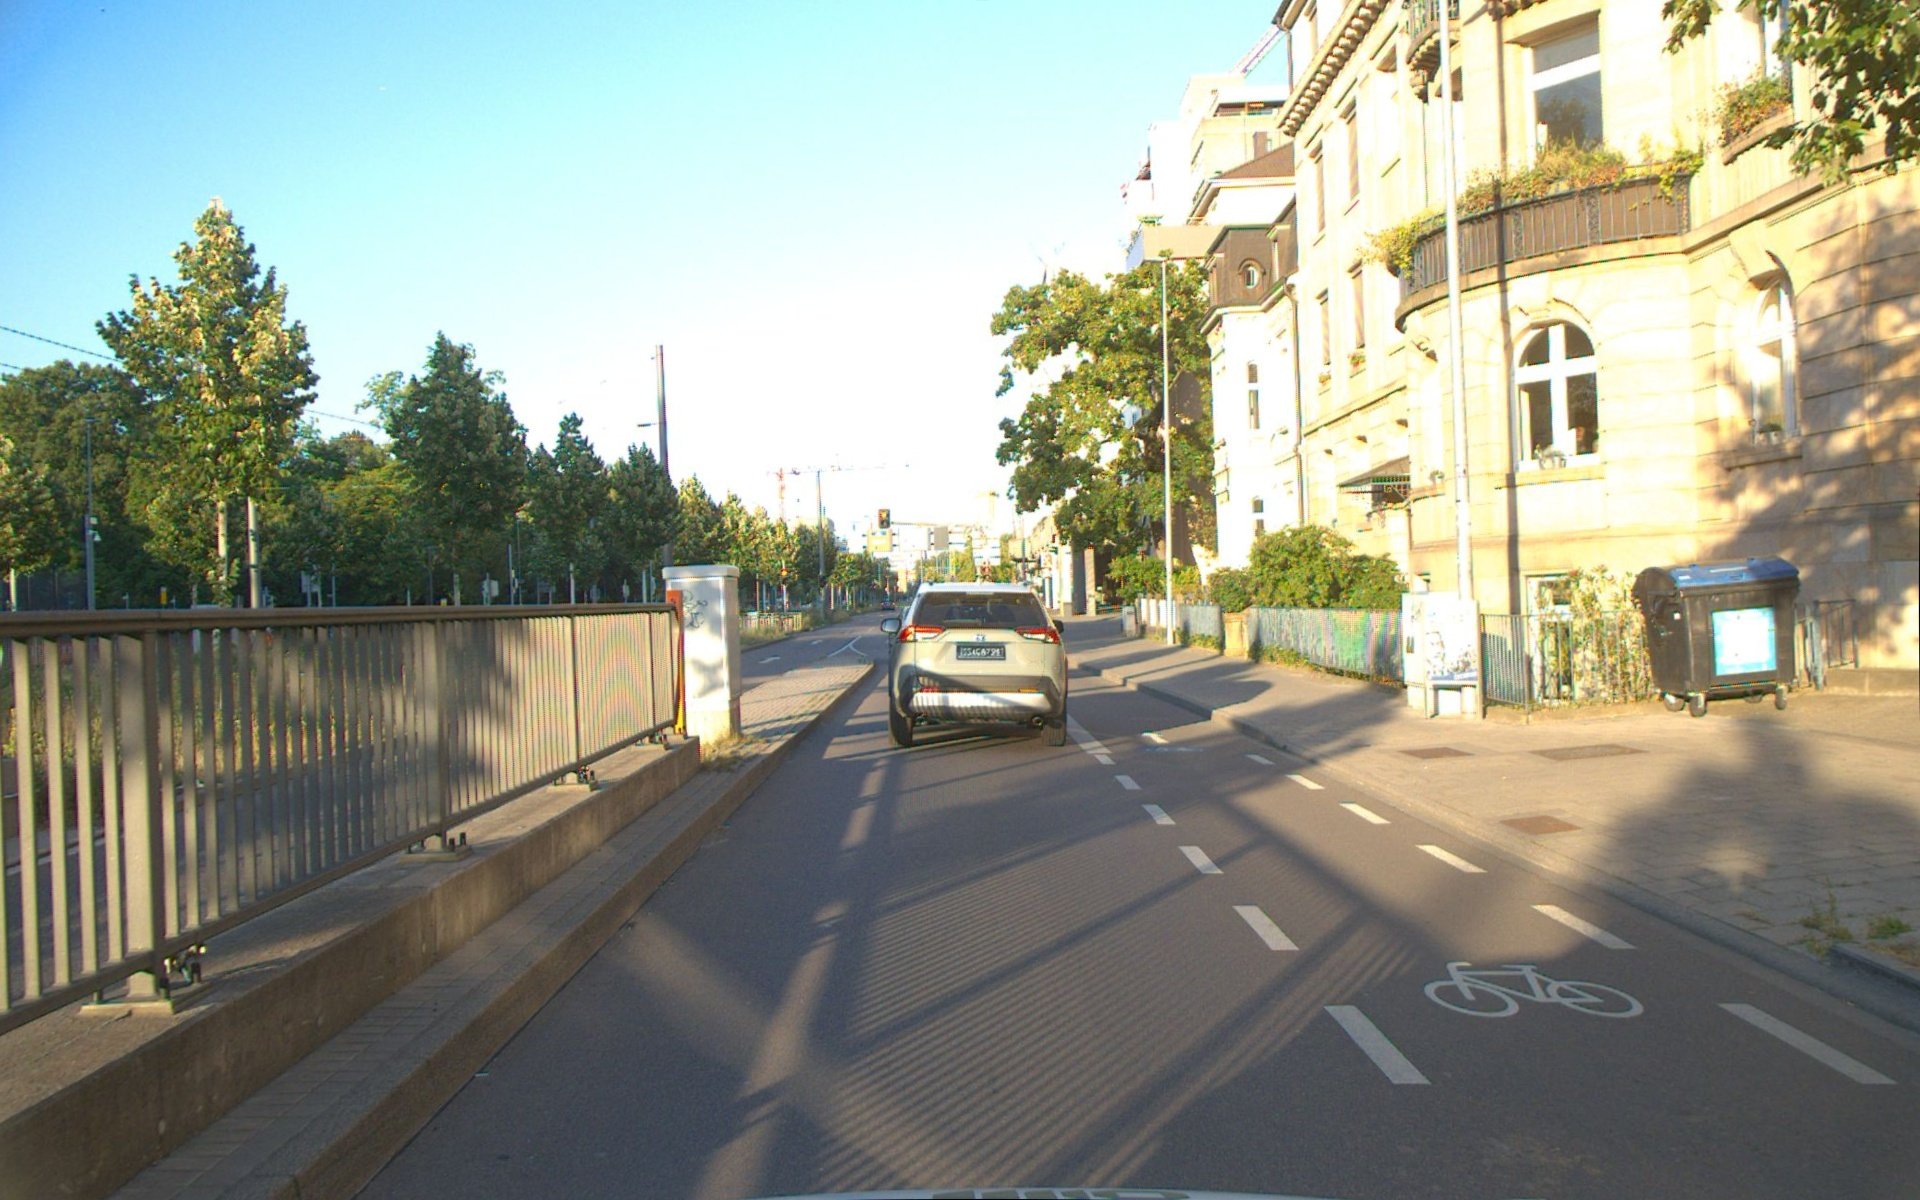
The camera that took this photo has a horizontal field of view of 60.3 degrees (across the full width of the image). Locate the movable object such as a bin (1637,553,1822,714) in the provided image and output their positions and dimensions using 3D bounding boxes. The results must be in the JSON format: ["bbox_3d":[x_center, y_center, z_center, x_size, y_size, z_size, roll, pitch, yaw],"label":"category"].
[{"bbox_3d":[7.550,0.317,16.288,1.235,1.487,1.123,-2,0,-4],"label":"movable object such as a bin"}]

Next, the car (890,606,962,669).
[{"bbox_3d":[-0.932,0.971,44.110,1.820,1.578,4.107,0,0,-2],"label":"car"}]

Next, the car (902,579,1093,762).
[{"bbox_3d":[0.288,0.673,17.942,1.820,1.744,4.190,0,0,-2],"label":"car"}]
